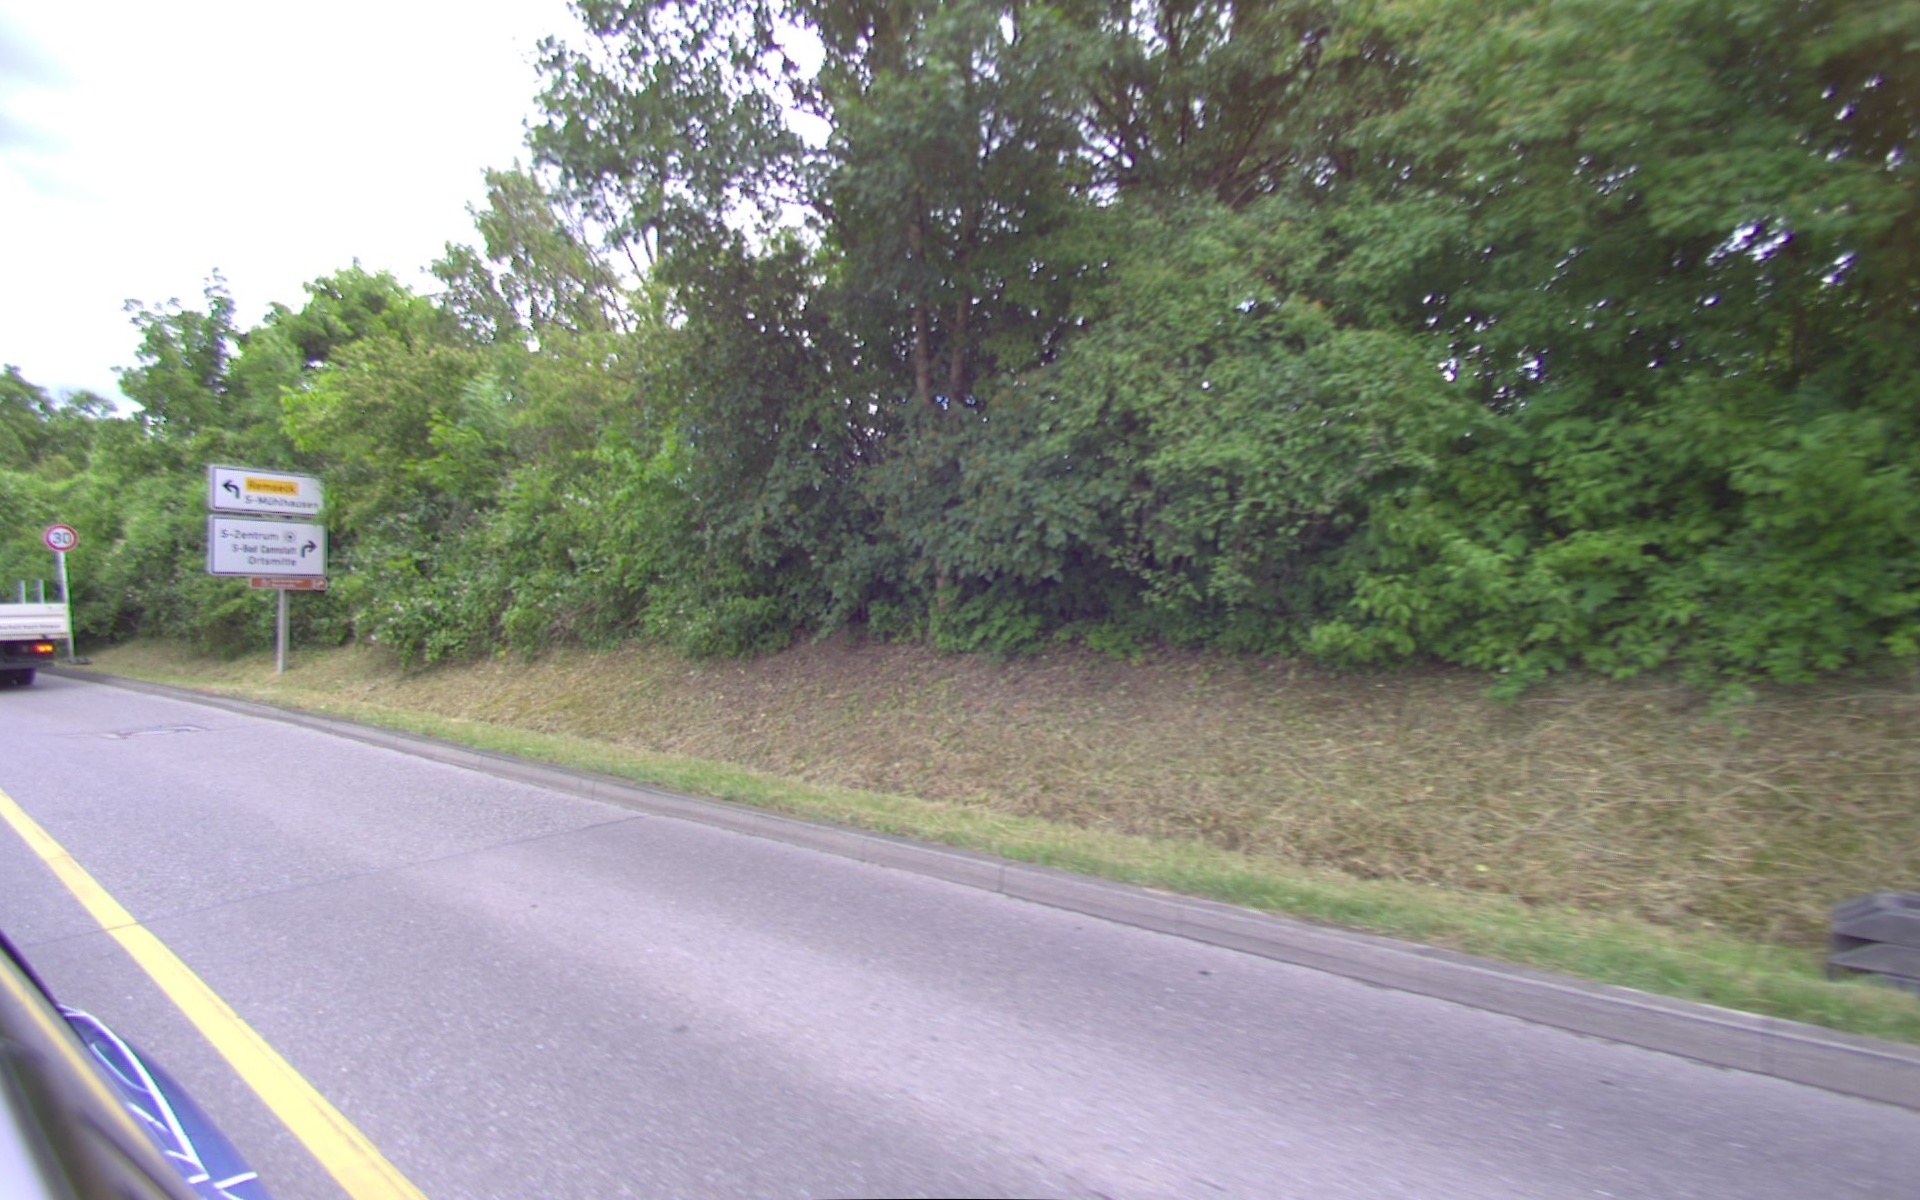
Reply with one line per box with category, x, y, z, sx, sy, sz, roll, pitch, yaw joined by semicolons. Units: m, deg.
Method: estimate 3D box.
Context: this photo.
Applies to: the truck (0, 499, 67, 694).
truck;-19.487;-0.051;19.003;7.600;3.282;2.725;0;1;38
